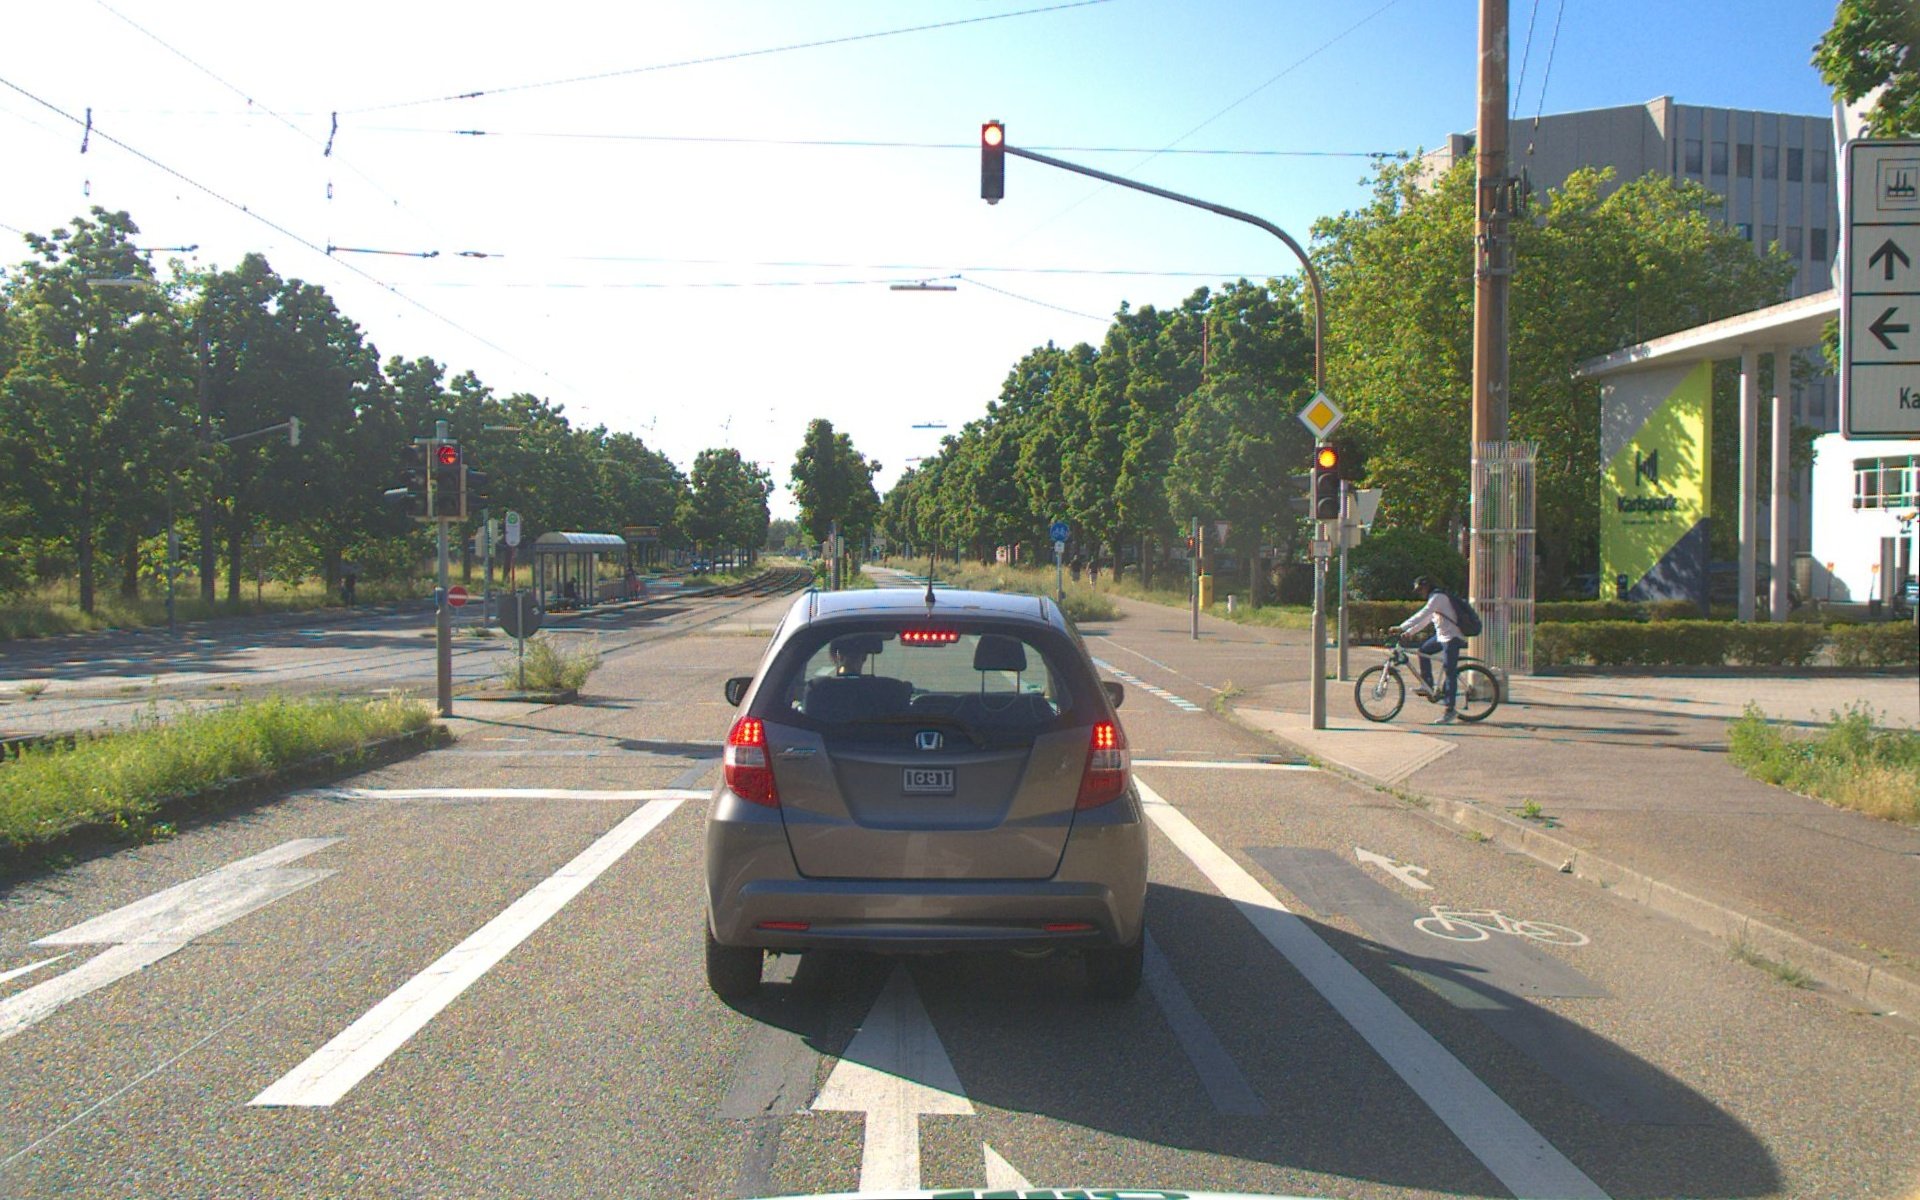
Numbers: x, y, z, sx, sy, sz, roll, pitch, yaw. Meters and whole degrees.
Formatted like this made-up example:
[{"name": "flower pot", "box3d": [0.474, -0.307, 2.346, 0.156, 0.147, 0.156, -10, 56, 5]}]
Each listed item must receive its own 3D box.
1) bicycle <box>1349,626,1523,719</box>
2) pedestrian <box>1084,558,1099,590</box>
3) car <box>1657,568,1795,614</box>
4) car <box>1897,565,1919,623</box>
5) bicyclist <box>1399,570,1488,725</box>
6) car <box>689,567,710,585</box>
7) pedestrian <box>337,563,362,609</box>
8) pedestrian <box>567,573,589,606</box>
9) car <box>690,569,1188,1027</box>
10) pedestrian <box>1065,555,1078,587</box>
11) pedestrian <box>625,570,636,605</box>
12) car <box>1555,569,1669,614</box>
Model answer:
[{"name": "bicycle", "box3d": [5.595, 0.851, 19.542, 1.879, 1.015, 0.765, -2, 0, 10]}, {"name": "pedestrian", "box3d": [6.831, -1.365, 86.197, 0.664, 1.638, 0.720, 1, 0, -3]}, {"name": "car", "box3d": [28.097, -0.327, 60.697, 4.459, 1.658, 1.870, 0, 0, -14]}, {"name": "car", "box3d": [31.051, -0.172, 50.553, 3.915, 1.750, 1.895, 0, 1, -10]}, {"name": "bicyclist", "box3d": [5.697, 0.550, 19.528, 0.890, 1.775, 0.765, -1, 0, 10]}, {"name": "car", "box3d": [-26.638, -2.458, 169.426, 1.731, 1.768, 3.998, 0, 0, -3]}, {"name": "pedestrian", "box3d": [-27.133, -0.630, 73.492, 0.823, 2.049, 0.863, 0, 0, -3]}, {"name": "pedestrian", "box3d": [-15.115, -0.415, 65.398, 0.706, 1.267, 0.710, -1, 1, -3]}, {"name": "car", "box3d": [-0.076, 0.661, 7.615, 1.672, 1.535, 4.000, 1, 0, 0]}, {"name": "pedestrian", "box3d": [5.820, -1.506, 86.188, 0.556, 1.624, 0.665, 1, 0, -5]}, {"name": "pedestrian", "box3d": [-15.924, -0.596, 79.941, 0.493, 1.705, 0.387, 0, 0, -12]}, {"name": "car", "box3d": [26.668, -0.354, 67.692, 3.919, 1.788, 1.993, 0, 0, -14]}]
